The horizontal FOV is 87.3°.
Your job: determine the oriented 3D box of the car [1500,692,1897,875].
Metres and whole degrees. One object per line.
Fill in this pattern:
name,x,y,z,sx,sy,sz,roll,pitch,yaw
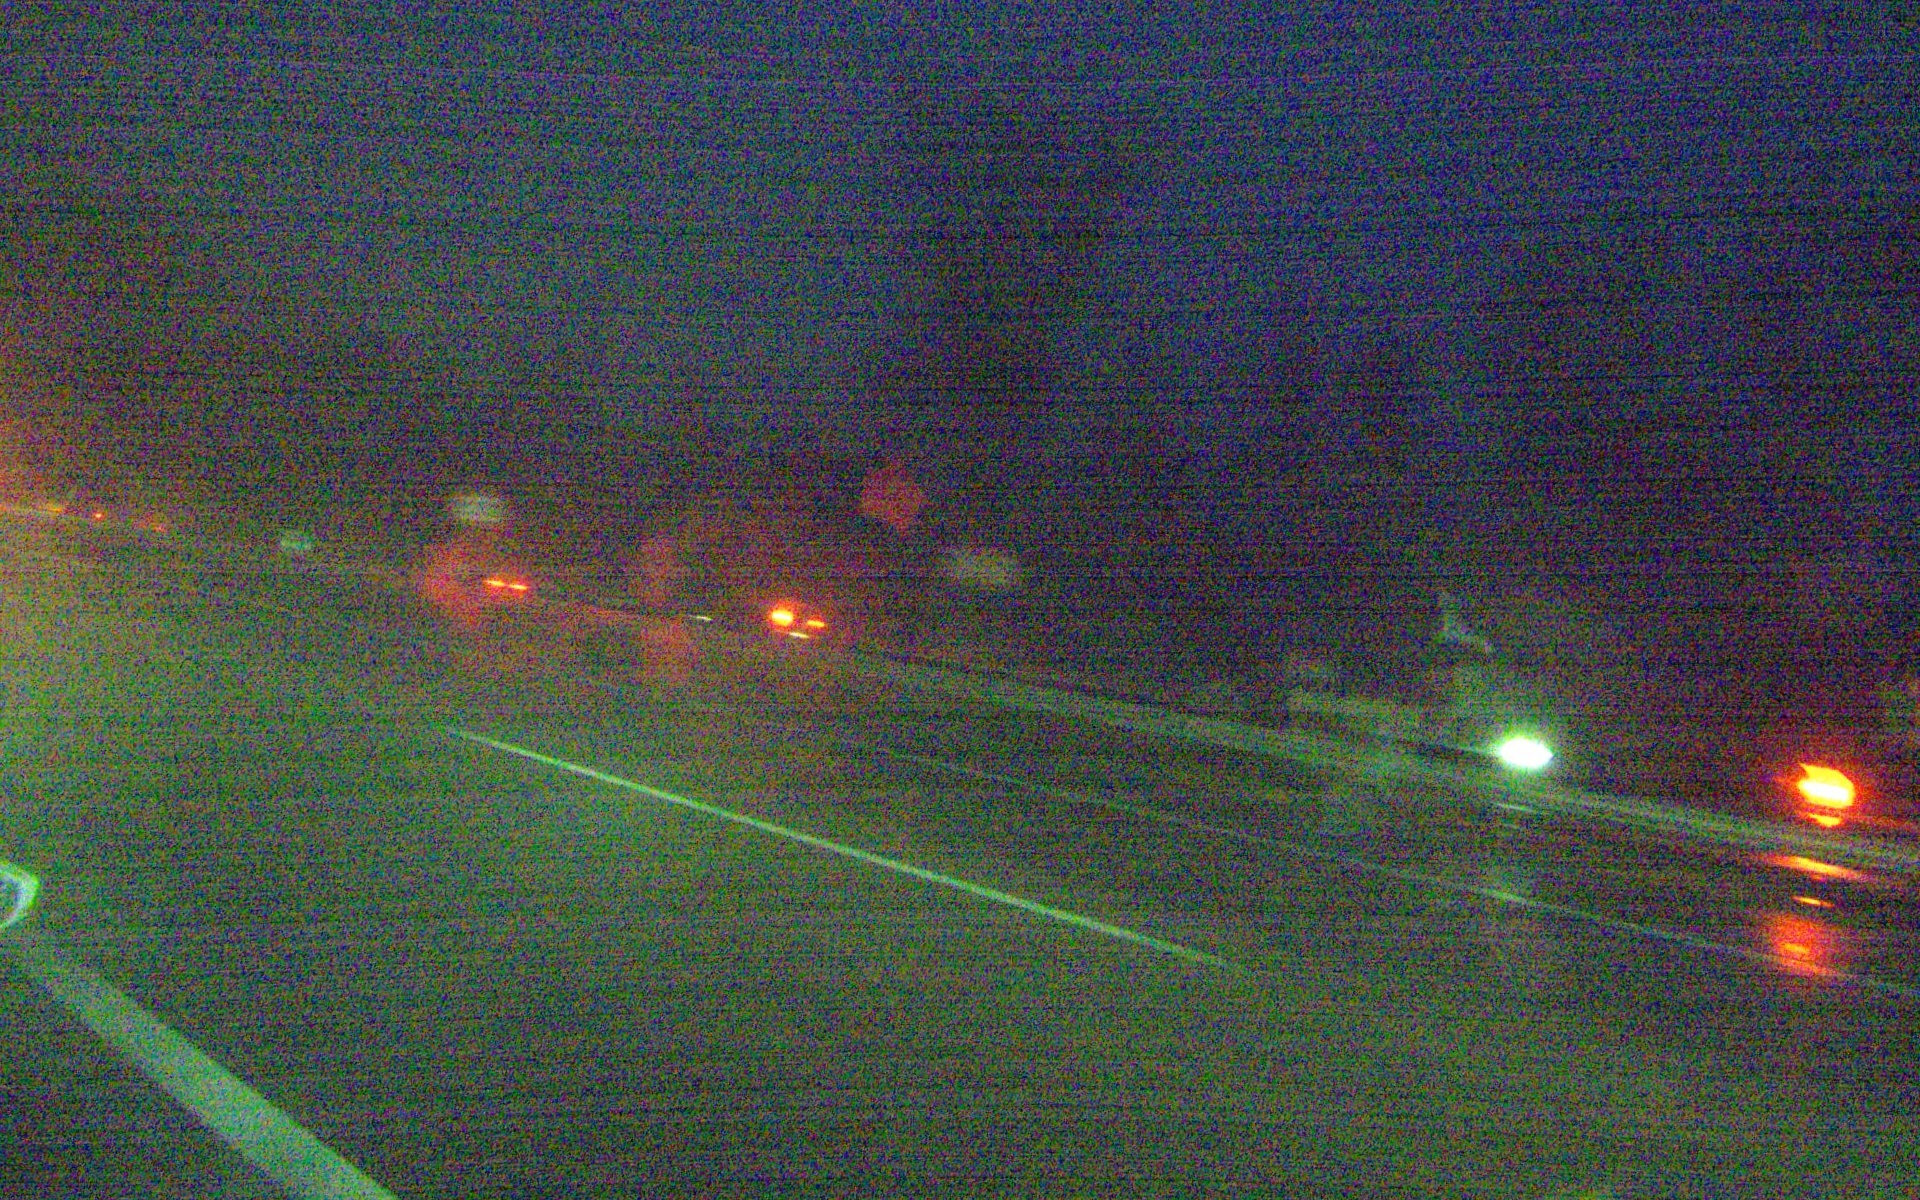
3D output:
car,13.100,3.151,18.166,5.375,2.036,2.061,7,-3,44

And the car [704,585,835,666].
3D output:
car,-6.468,0.838,33.980,3.946,2.036,2.231,7,-3,43
